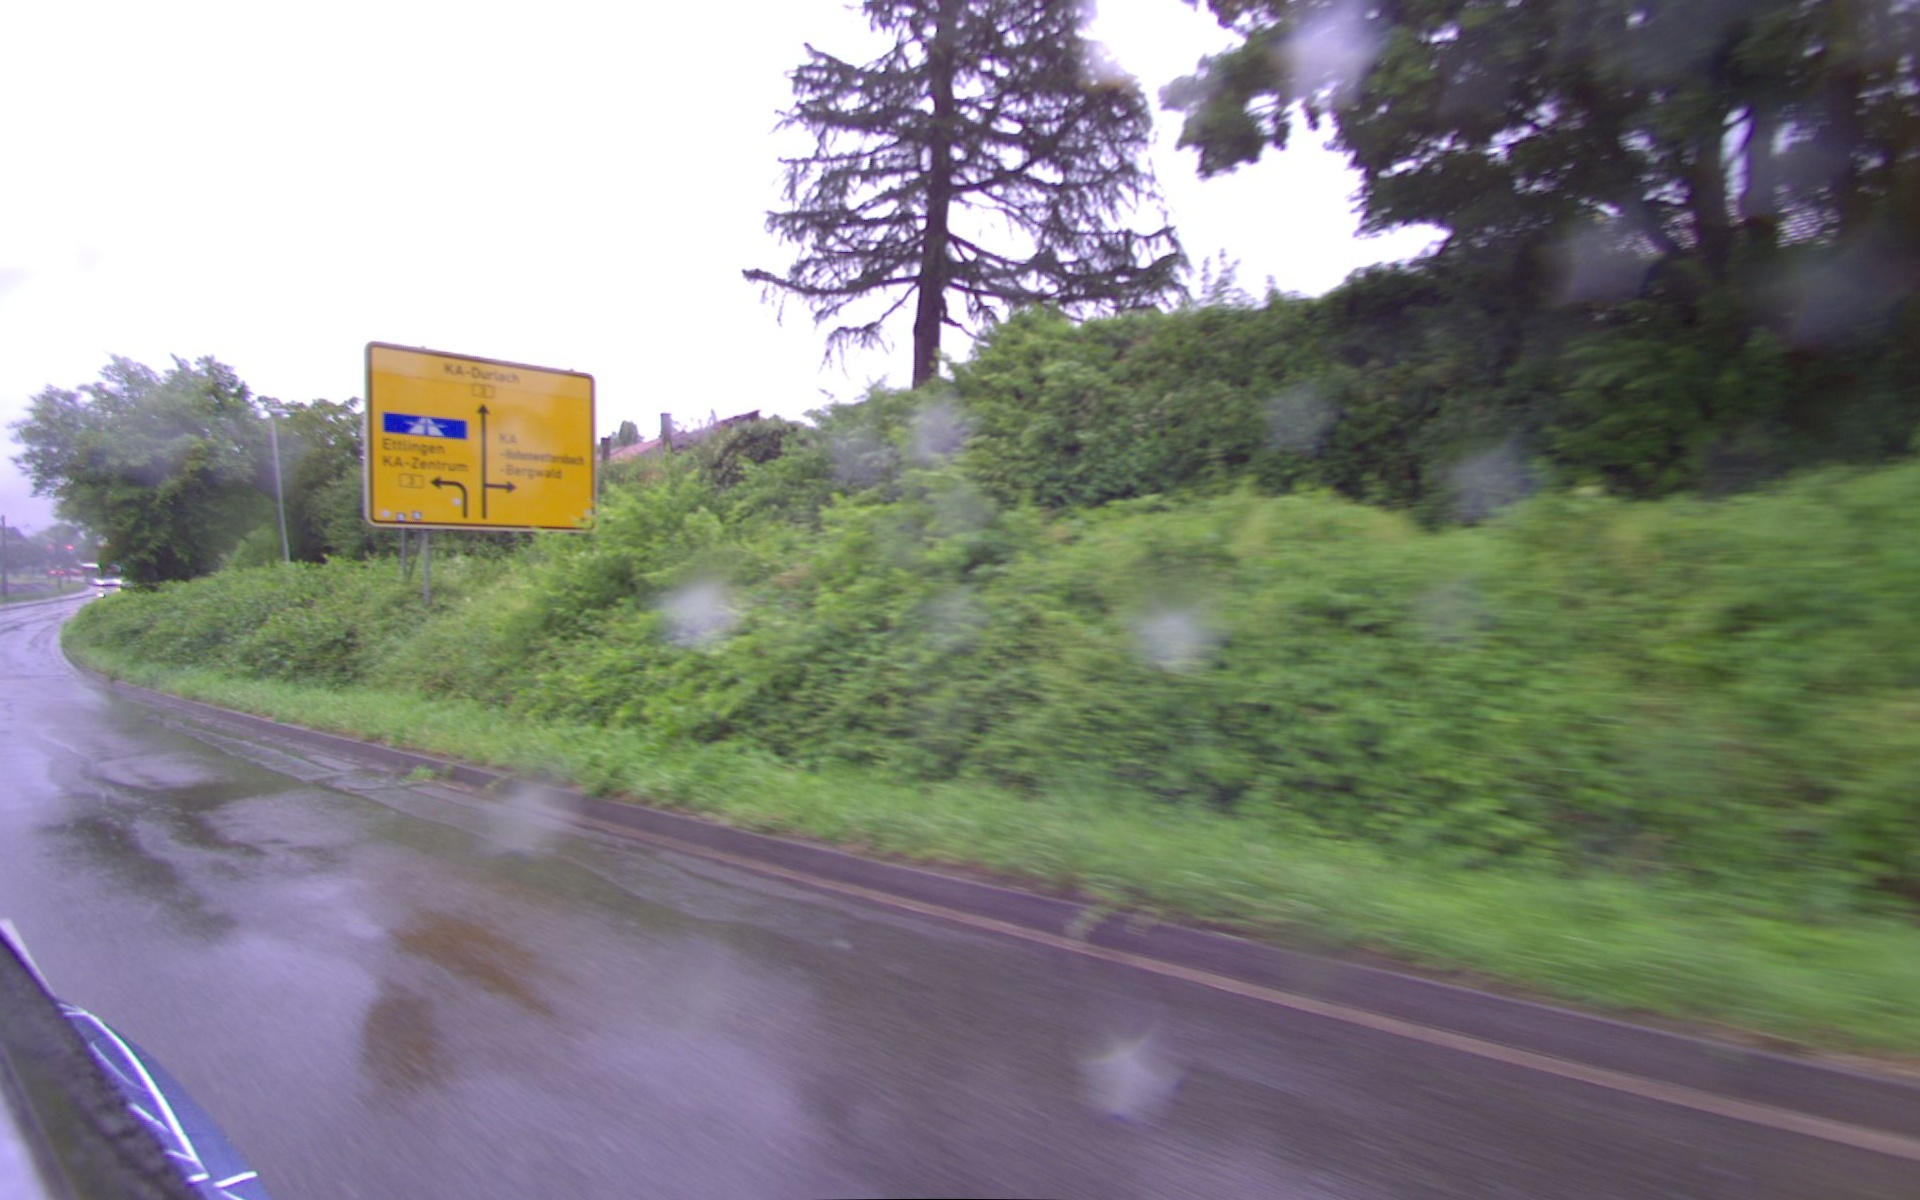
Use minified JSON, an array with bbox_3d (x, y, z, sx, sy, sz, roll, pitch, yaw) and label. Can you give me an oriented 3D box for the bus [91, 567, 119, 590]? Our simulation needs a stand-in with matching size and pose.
[{"bbox_3d":[-126.495,-3.277,149.837,2.636,3.100,10.016,-3,4,-38],"label":"bus"}]
